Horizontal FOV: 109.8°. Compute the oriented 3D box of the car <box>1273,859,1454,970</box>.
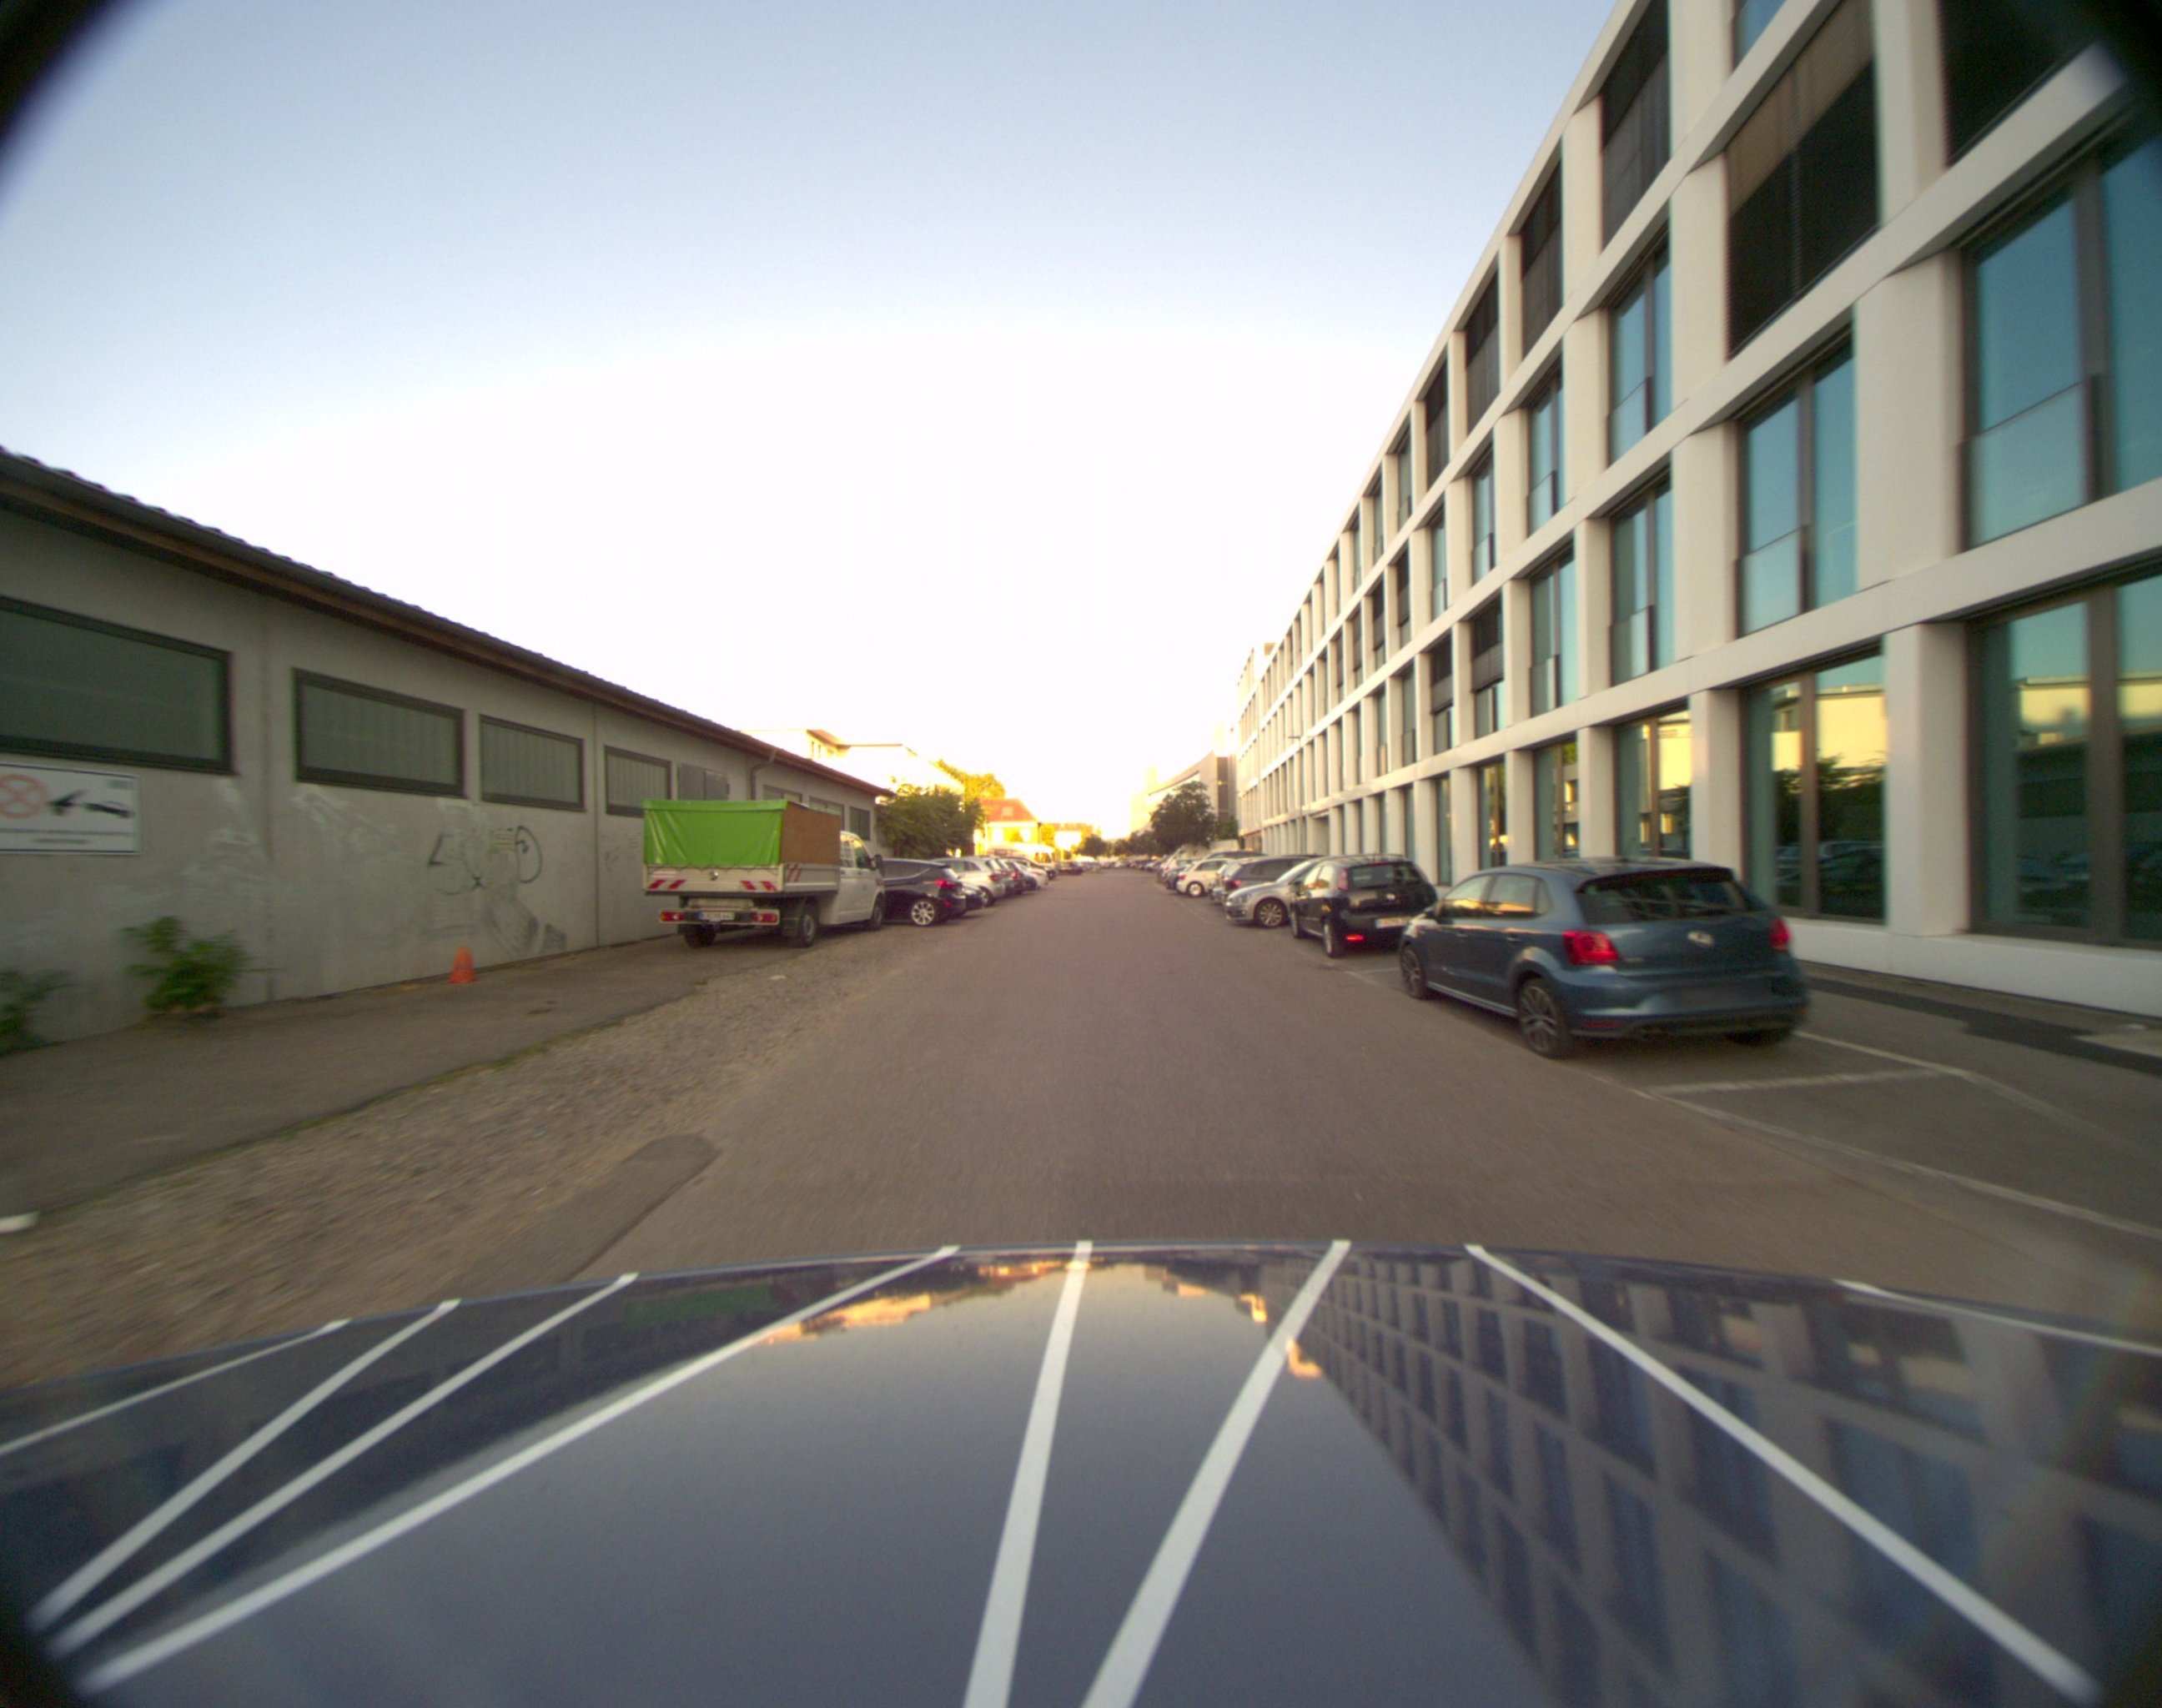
[{"bbox_3d":[4.538,0.876,12.879,1.652,1.430,4.203,-5,0,4],"label":"car"}]

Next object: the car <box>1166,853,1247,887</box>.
[{"bbox_3d":[6.187,0.811,37.746,3.790,1.513,1.694,-2,-1,3],"label":"car"}]

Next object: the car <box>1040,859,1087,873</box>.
[{"bbox_3d":[-1.629,1.133,71.113,4.326,1.325,1.896,0,0,1],"label":"car"}]

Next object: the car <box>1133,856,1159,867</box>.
[{"bbox_3d":[10.734,1.240,125.501,4.028,1.574,1.798,-3,0,-7],"label":"car"}]

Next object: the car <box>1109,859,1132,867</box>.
[{"bbox_3d":[7.503,1.705,142.855,4.028,1.340,1.798,-3,0,-7],"label":"car"}]

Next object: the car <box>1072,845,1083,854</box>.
[{"bbox_3d":[-0.609,-0.698,126.340,1.770,1.454,4.368,0,0,-1],"label":"car"}]

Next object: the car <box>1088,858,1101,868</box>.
[{"bbox_3d":[1.975,1.329,110.723,1.770,1.454,4.368,0,0,-1],"label":"car"}]

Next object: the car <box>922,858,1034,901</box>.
[{"bbox_3d":[-3.948,0.974,29.596,3.993,1.437,1.827,-2,1,3],"label":"car"}]

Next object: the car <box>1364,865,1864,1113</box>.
[{"bbox_3d":[4.188,0.902,6.963,1.652,1.430,4.185,-5,0,2],"label":"car"}]

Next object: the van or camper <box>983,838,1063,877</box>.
[{"bbox_3d":[-4.335,0.275,57.453,5.794,2.847,2.487,0,0,2],"label":"van or camper"}]

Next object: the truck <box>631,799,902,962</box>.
[{"bbox_3d":[-4.941,0.434,13.151,2.102,2.187,5.713,0,-1,3],"label":"truck"}]

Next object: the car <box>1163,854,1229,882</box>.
[{"bbox_3d":[6.850,0.839,45.512,3.716,1.486,1.708,-2,-1,4],"label":"car"}]

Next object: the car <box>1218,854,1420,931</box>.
[{"bbox_3d":[5.114,0.825,16.741,3.934,1.502,1.688,-2,-1,6],"label":"car"}]

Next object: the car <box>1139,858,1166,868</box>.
[{"bbox_3d":[10.993,1.345,117.009,3.811,1.352,1.799,-3,0,-2],"label":"car"}]

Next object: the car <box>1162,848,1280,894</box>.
[{"bbox_3d":[5.781,0.693,31.726,4.627,1.696,2.006,-2,-1,8],"label":"car"}]

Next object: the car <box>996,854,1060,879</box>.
[{"bbox_3d":[-3.749,0.869,54.445,4.249,1.731,1.969,0,0,8],"label":"car"}]

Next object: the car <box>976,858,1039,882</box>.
[{"bbox_3d":[-4.519,0.967,46.938,3.714,1.470,1.712,0,0,1],"label":"car"}]

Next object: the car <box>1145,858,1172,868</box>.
[{"bbox_3d":[11.391,1.322,111.746,3.811,1.352,1.799,-3,0,-2],"label":"car"}]

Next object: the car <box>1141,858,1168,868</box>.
[{"bbox_3d":[11.064,1.341,114.447,3.811,1.352,1.799,-3,0,-2],"label":"car"}]

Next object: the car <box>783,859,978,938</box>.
[{"bbox_3d":[-4.389,0.951,17.042,3.767,1.527,1.891,-2,1,4],"label":"car"}]

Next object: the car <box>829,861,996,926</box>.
[{"bbox_3d":[-4.228,0.982,19.473,3.768,1.436,1.845,-2,1,2],"label":"car"}]

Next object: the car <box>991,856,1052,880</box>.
[{"bbox_3d":[-3.986,0.943,51.351,4.014,1.554,1.712,0,0,-1],"label":"car"}]

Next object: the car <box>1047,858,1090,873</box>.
[{"bbox_3d":[-1.211,1.097,73.516,4.065,1.399,1.897,0,-1,1],"label":"car"}]

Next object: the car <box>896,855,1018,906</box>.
[{"bbox_3d":[-4.327,0.921,27.010,3.994,1.609,1.827,-2,0,0],"label":"car"}]

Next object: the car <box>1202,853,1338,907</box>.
[{"bbox_3d":[5.947,0.818,24.321,3.972,1.502,1.797,-2,-1,6],"label":"car"}]

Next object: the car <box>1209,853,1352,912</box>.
[{"bbox_3d":[5.563,0.796,21.588,3.662,1.502,1.688,-2,-1,5],"label":"car"}]

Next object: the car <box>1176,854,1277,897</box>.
[{"bbox_3d":[5.530,0.815,29.150,3.673,1.502,1.697,-2,-1,8],"label":"car"}]

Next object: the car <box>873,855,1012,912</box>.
[{"bbox_3d":[-4.357,0.921,24.324,3.993,1.600,1.939,-2,0,2],"label":"car"}]

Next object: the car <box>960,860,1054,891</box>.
[{"bbox_3d":[-3.549,1.022,37.012,4.211,1.359,1.824,-2,0,7],"label":"car"}]

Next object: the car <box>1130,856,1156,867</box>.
[{"bbox_3d":[10.473,1.248,127.734,4.028,1.574,1.798,-3,0,-7],"label":"car"}]

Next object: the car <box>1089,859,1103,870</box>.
[{"bbox_3d":[1.985,1.334,98.815,1.680,1.454,4.369,0,0,2],"label":"car"}]

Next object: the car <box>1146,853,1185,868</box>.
[{"bbox_3d":[11.636,0.915,104.681,5.082,1.870,1.889,-3,0,-2],"label":"car"}]

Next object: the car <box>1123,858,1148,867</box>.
[{"bbox_3d":[9.507,1.480,132.674,4.028,1.340,1.798,-3,0,-7],"label":"car"}]

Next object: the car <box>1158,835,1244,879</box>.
[{"bbox_3d":[7.850,0.226,50.109,5.392,2.617,2.079,-2,0,6],"label":"car"}]

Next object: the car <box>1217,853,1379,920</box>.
[{"bbox_3d":[5.436,0.817,19.403,3.662,1.502,1.688,-2,-1,5],"label":"car"}]

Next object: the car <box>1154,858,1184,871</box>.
[{"bbox_3d":[11.479,1.374,99.358,3.654,1.416,1.726,-3,0,4],"label":"car"}]

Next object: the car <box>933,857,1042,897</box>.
[{"bbox_3d":[-3.907,0.942,32.116,4.211,1.494,1.890,-2,1,5],"label":"car"}]

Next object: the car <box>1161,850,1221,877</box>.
[{"bbox_3d":[7.979,0.702,55.335,4.118,1.806,1.816,-2,-1,1],"label":"car"}]
